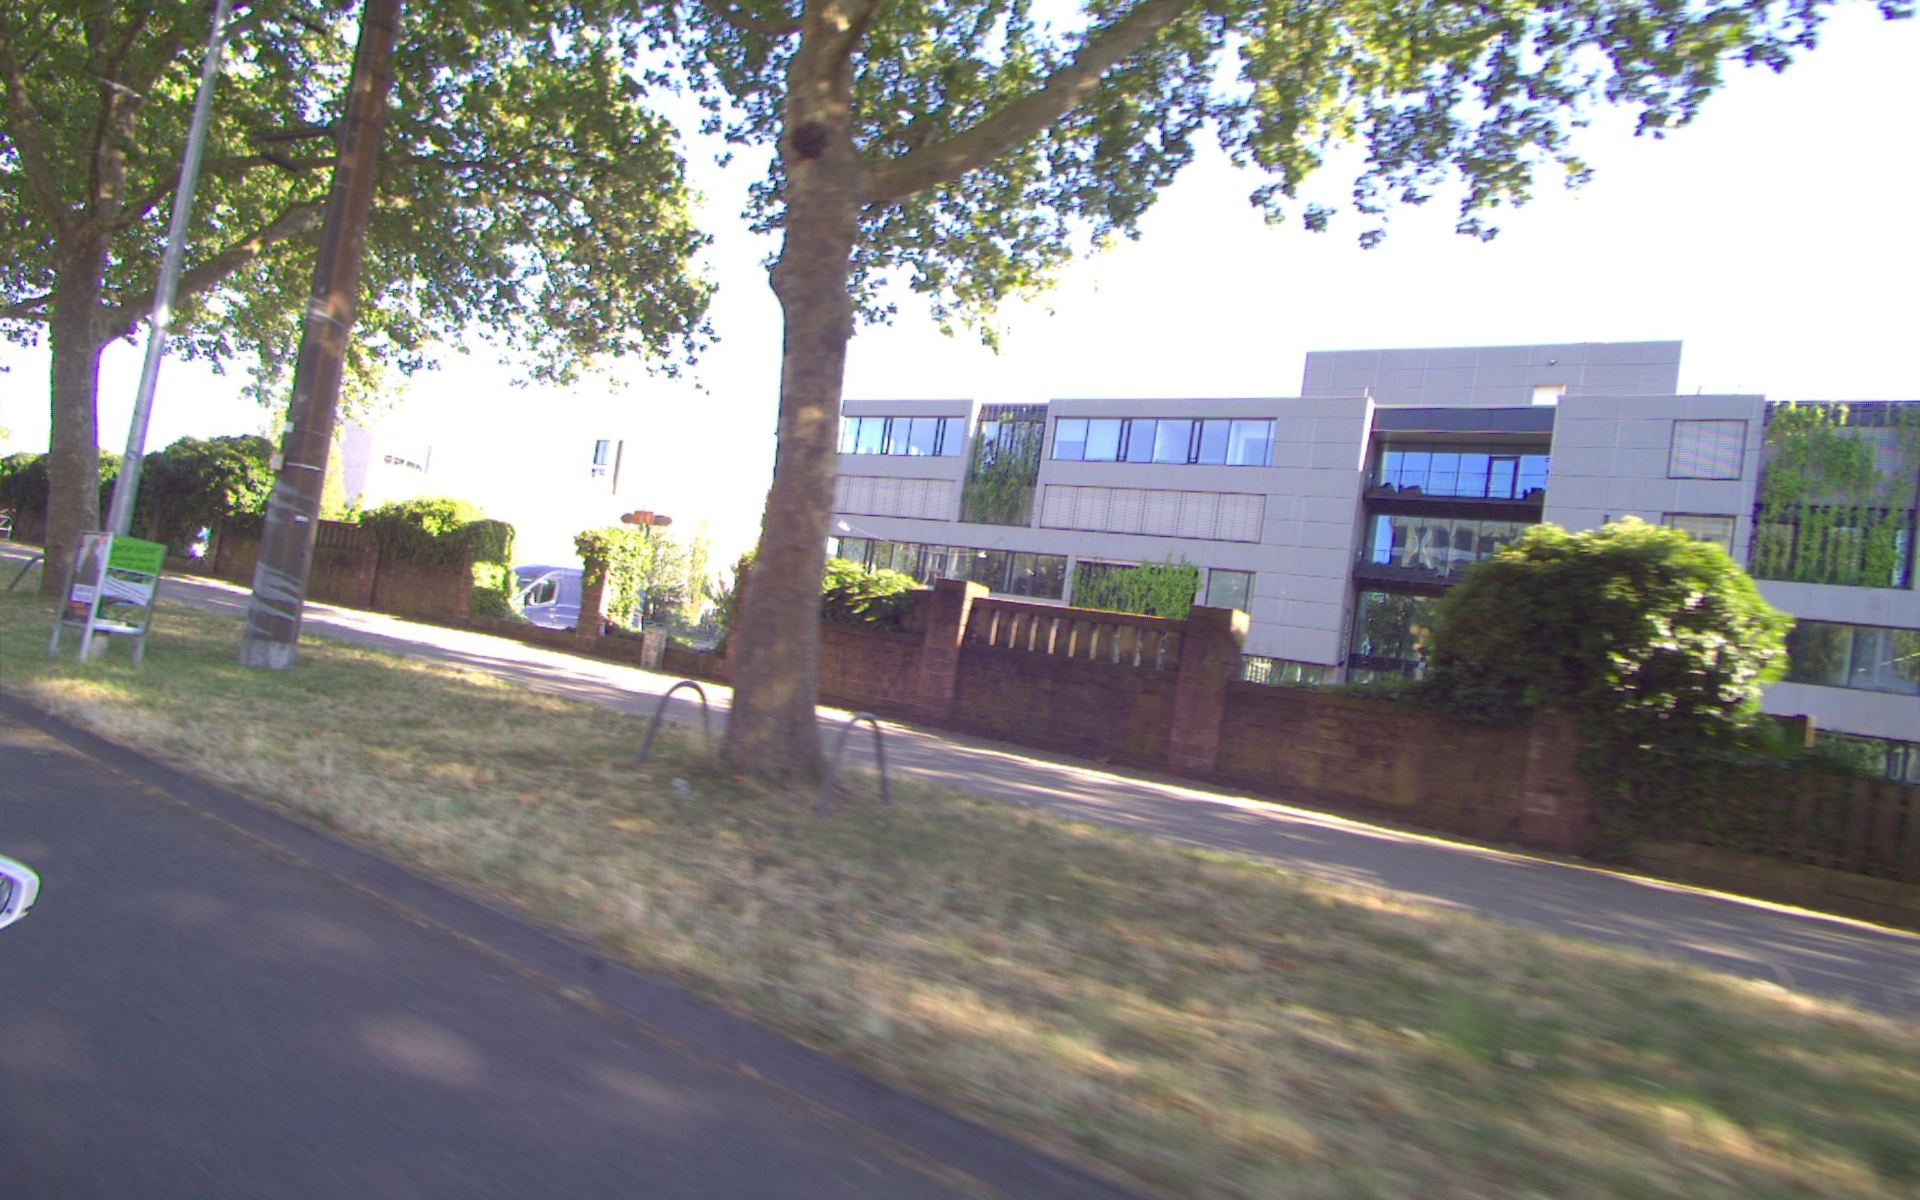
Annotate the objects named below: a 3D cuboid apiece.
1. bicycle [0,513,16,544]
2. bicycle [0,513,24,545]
[{"bbox_3d":[-37.627,-2.873,38.706,0.432,1.133,1.777,7,-2,31],"label":"bicycle"},{"bbox_3d":[-36.744,-2.783,38.146,0.432,1.133,1.691,7,-2,31],"label":"bicycle"}]
